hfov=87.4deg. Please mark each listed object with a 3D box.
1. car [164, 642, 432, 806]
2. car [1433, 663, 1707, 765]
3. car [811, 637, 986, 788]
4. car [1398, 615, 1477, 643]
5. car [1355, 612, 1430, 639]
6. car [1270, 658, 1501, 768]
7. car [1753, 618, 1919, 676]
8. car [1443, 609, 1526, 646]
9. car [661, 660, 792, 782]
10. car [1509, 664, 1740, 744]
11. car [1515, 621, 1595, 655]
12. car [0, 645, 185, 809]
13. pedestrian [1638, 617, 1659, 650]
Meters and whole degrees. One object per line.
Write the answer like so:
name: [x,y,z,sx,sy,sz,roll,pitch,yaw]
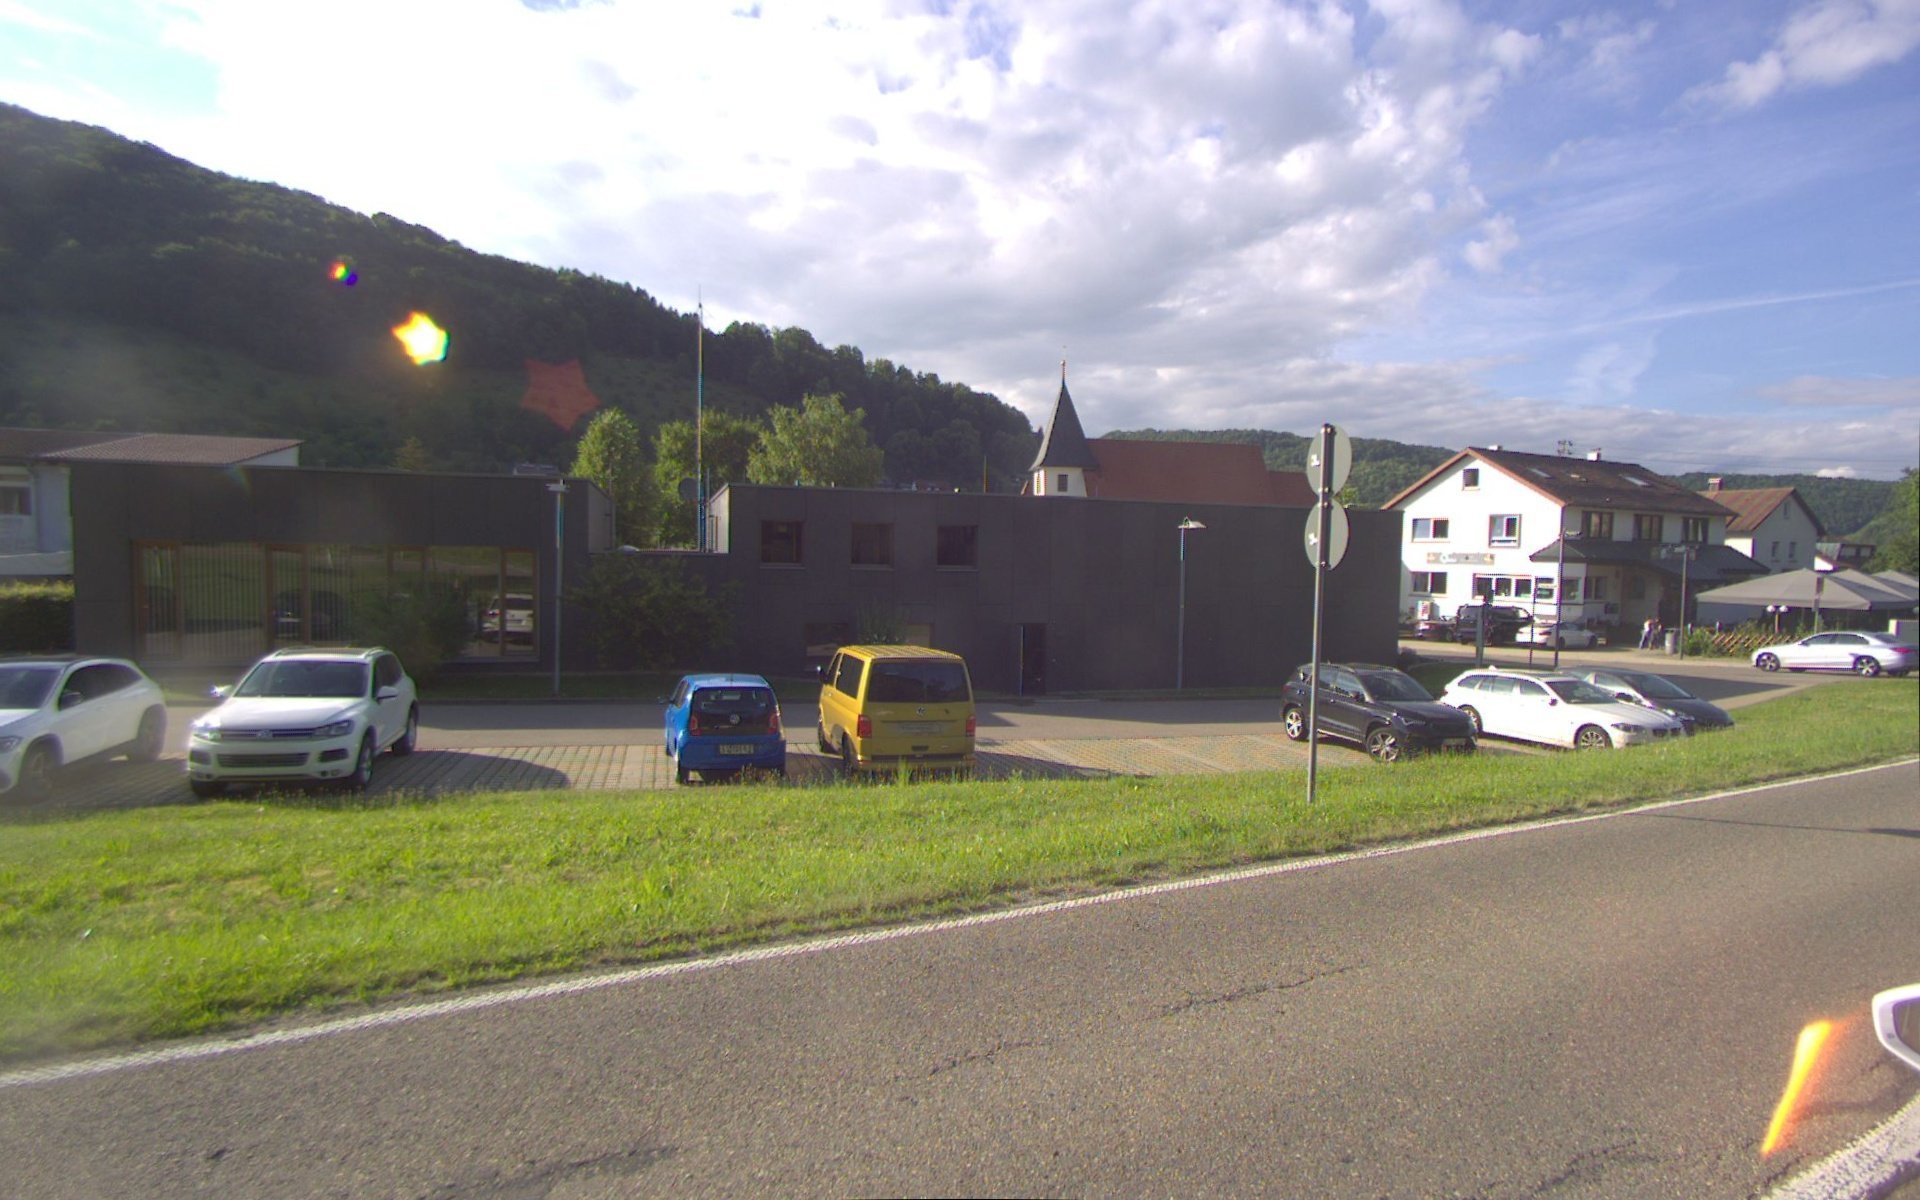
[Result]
car: [-9.107,1.589,14.313,1.968,1.725,4.535,2,0,-18]
car: [12.357,2.245,20.799,1.851,1.513,4.810,2,0,-18]
car: [-1.174,1.659,16.310,1.966,1.893,4.612,2,0,-14]
car: [25.049,1.524,52.673,3.955,1.372,1.831,2,0,-31]
car: [23.719,1.398,55.038,3.955,1.372,1.831,2,0,-31]
car: [8.111,2.093,19.569,1.968,1.659,4.022,2,0,-18]
car: [29.183,1.500,33.155,1.783,1.661,4.443,2,0,-20]
car: [26.352,1.388,50.487,3.954,1.684,1.878,2,0,-31]
car: [-3.805,1.818,15.990,1.608,1.492,3.489,2,0,-20]
car: [14.533,2.225,22.234,1.735,1.327,3.979,2,0,-22]
car: [28.503,1.826,48.108,3.954,1.469,1.548,2,0,-31]
car: [-12.342,1.515,13.174,1.968,1.575,4.535,2,0,-18]
pedestrian: [32.850,1.604,47.909,0.583,1.523,0.605,2,0,-30]
